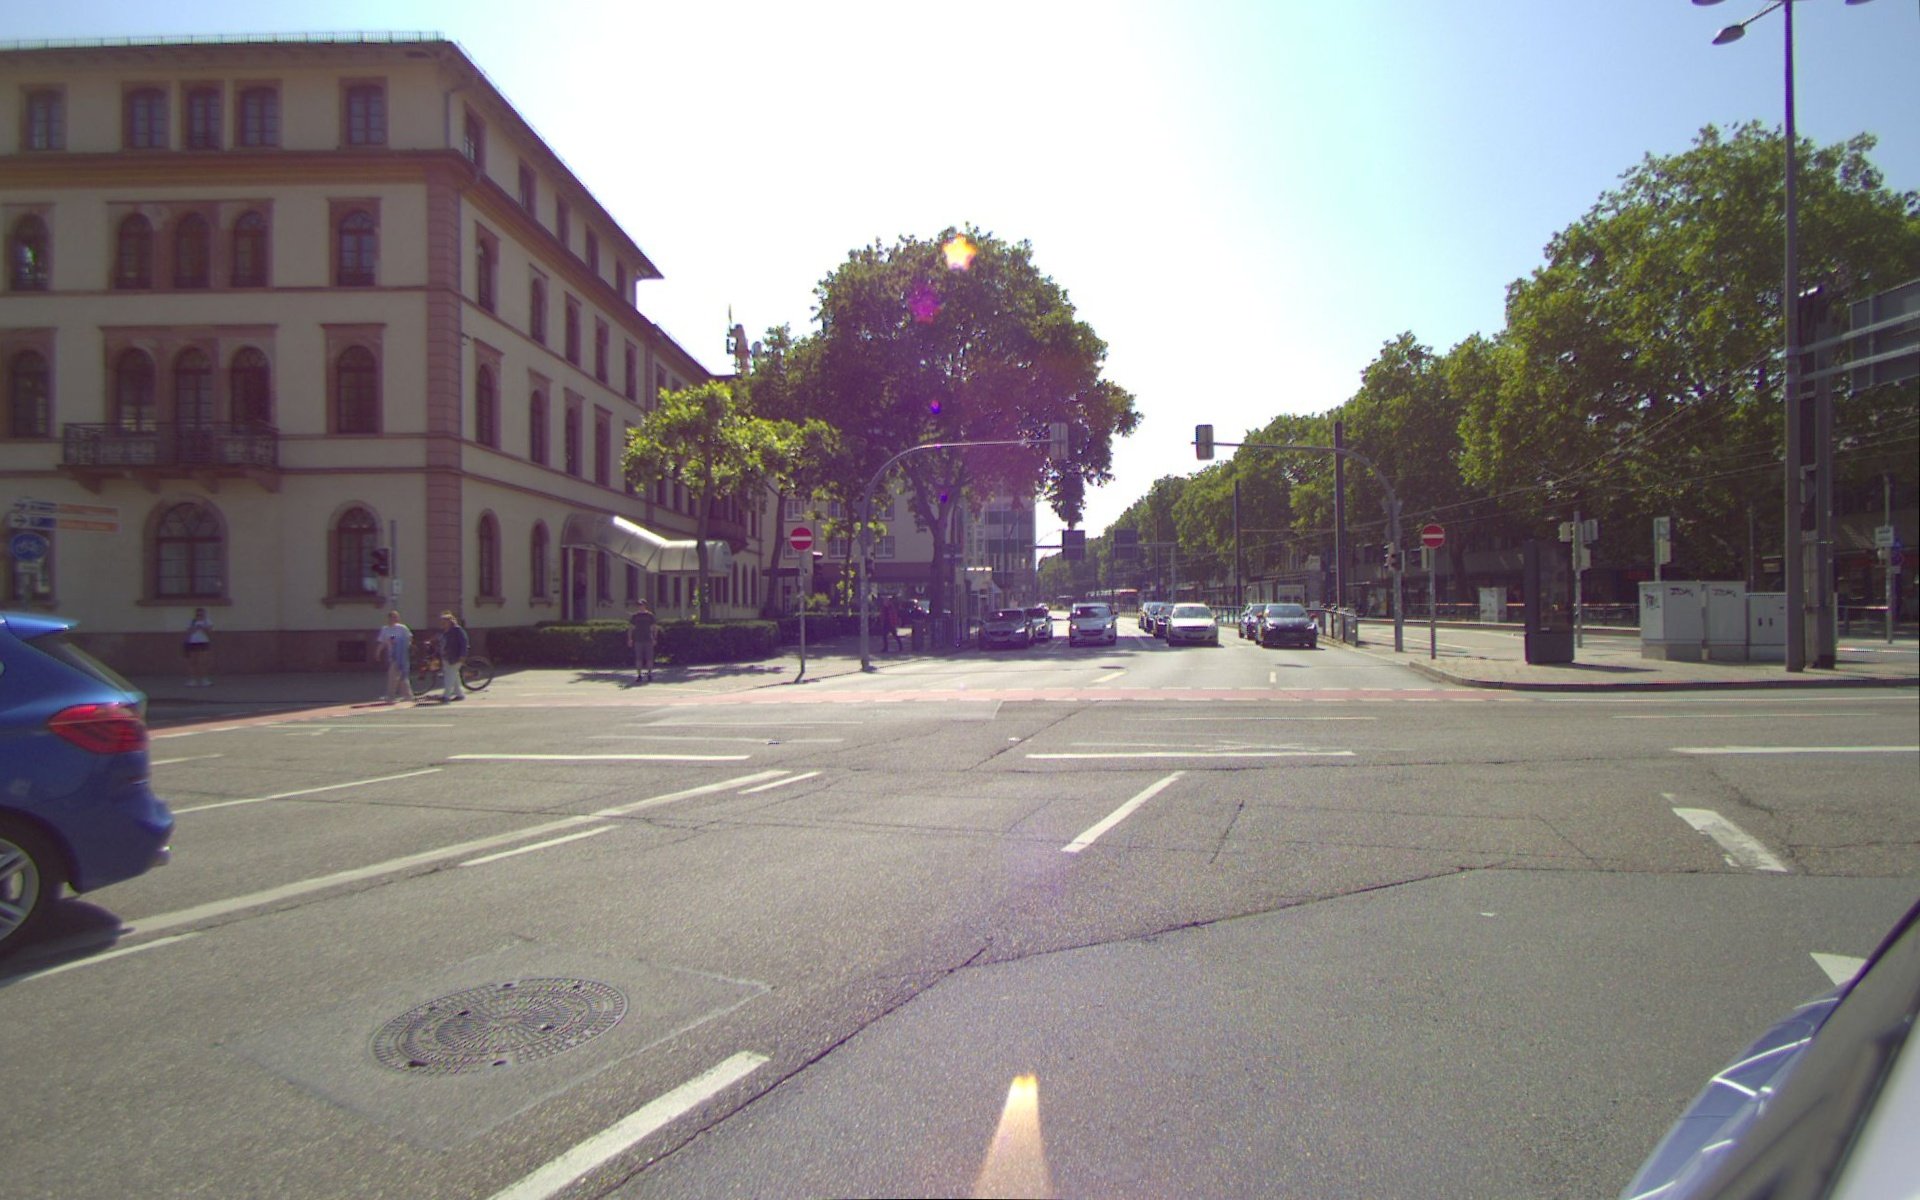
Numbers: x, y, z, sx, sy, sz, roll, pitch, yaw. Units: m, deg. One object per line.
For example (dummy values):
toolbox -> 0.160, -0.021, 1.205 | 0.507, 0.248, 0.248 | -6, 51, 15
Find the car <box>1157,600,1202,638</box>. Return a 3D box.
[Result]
car -> 9.428, 0.778, 43.272 | 1.765, 1.543, 3.957 | 1, 0, 14

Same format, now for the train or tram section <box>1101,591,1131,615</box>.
train or tram section -> 21.753, 0.422, 141.429 | 2.683, 3.309, 8.736 | -1, 0, 0

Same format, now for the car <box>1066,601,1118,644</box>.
car -> 4.839, 0.779, 37.188 | 1.762, 1.470, 3.965 | 1, 0, 8

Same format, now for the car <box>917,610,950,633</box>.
car -> -1.604, 1.296, 62.378 | 1.563, 1.339, 3.574 | -1, 0, 5

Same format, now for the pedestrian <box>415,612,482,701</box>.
pedestrian -> -9.546, 1.037, 18.900 | 0.764, 1.592, 0.824 | -1, -1, 21

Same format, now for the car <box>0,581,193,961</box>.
car -> -5.512, 0.737, 3.557 | 1.715, 1.561, 4.213 | -2, -1, 38

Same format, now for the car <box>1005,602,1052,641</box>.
car -> 2.942, 0.857, 42.906 | 1.762, 1.545, 3.965 | 1, 0, 8

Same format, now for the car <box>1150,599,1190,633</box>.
car -> 10.206, 0.719, 49.012 | 1.765, 1.543, 3.957 | 1, 0, 14

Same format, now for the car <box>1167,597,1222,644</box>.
car -> 8.249, 0.708, 35.909 | 1.693, 1.519, 4.476 | 0, -1, 10

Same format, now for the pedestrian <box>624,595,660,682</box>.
pedestrian -> -7.044, 0.836, 22.403 | 0.713, 1.869, 0.593 | -1, -1, -22

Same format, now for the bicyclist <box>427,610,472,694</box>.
bicyclist -> -10.275, 1.030, 20.365 | 0.672, 1.627, 0.592 | 0, -1, -41

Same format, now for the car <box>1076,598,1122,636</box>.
car -> 6.083, 0.714, 43.943 | 1.764, 1.550, 3.961 | 1, 0, 11

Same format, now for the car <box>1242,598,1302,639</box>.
car -> 12.527, 0.719, 40.875 | 1.763, 1.536, 3.963 | 1, 0, 9

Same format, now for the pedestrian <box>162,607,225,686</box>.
pedestrian -> -17.033, 1.016, 22.498 | 0.828, 1.717, 0.745 | -1, -1, -1

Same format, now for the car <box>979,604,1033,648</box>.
car -> 1.724, 0.893, 36.963 | 1.761, 1.470, 3.967 | 1, 0, 6

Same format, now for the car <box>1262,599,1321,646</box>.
car -> 11.186, 0.711, 34.371 | 1.768, 1.470, 4.257 | 1, 0, 17

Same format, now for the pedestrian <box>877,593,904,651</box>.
pedestrian -> -2.208, 0.707, 32.277 | 0.714, 1.828, 0.651 | -1, -1, 7

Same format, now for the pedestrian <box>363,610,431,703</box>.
pedestrian -> -10.446, 1.027, 18.801 | 0.744, 1.680, 0.824 | -1, -1, 20

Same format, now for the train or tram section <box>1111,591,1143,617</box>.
train or tram section -> 21.812, 0.505, 132.722 | 2.683, 3.309, 8.736 | -1, 0, 0

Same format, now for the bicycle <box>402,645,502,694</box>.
bicycle -> -10.220, 1.385, 20.407 | 1.714, 0.865, 0.592 | -1, -1, -41
